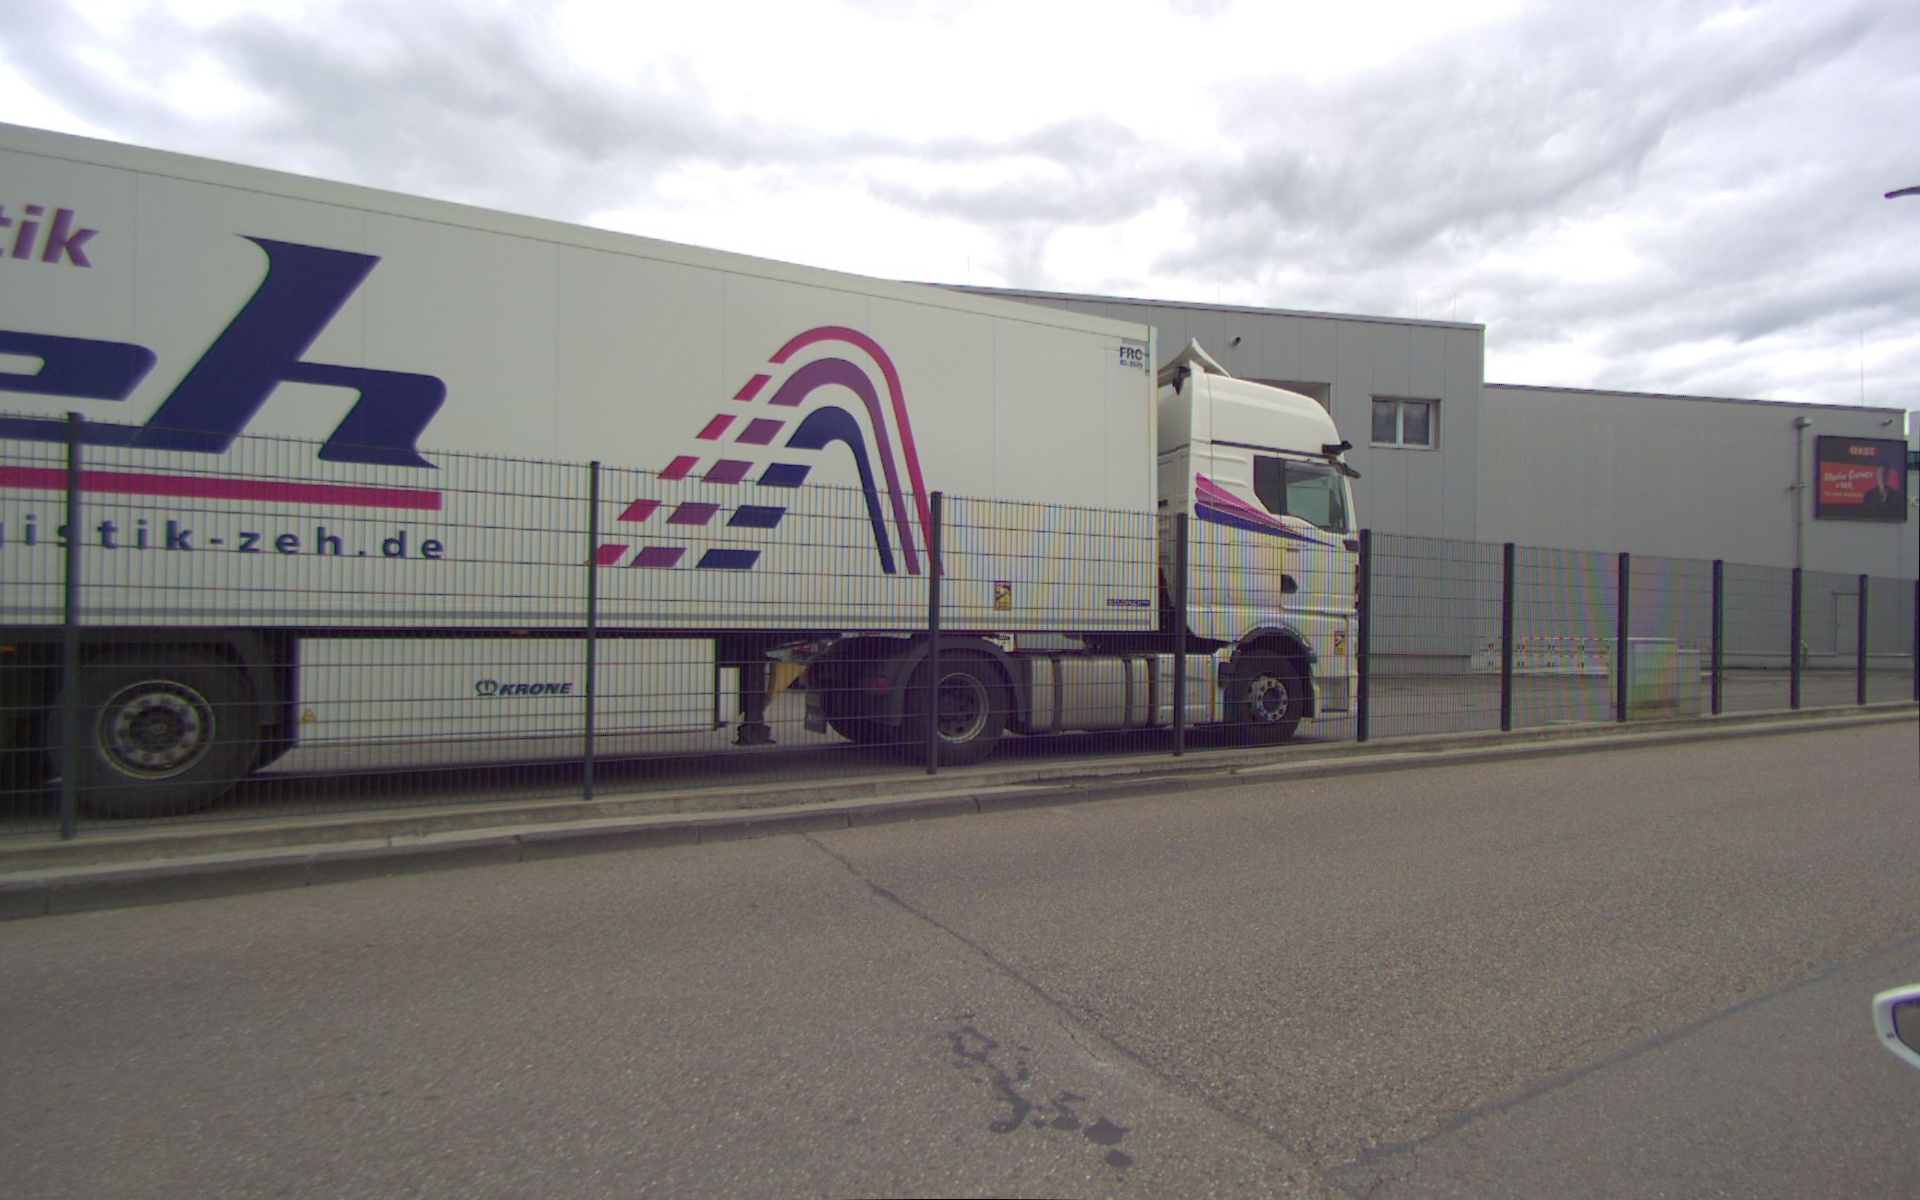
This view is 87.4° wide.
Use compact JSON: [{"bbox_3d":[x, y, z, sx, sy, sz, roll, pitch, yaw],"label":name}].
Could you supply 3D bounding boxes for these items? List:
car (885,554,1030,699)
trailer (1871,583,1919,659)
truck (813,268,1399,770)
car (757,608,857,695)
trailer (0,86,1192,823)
[{"bbox_3d":[-0.234,0.489,21.988,2.201,2.767,5.423,1,1,-11],"label":"car"},{"bbox_3d":[57.128,1.240,55.705,12.389,4.084,2.746,1,0,-10],"label":"trailer"},{"bbox_3d":[1.544,-0.567,11.177,5.554,4.214,3.348,1,-3,-27],"label":"truck"},{"bbox_3d":[-3.252,1.022,21.502,1.908,1.598,4.075,1,1,-8],"label":"car"},{"bbox_3d":[-4.609,-0.740,8.041,13.668,4.214,3.348,1,-3,-27],"label":"trailer"}]
